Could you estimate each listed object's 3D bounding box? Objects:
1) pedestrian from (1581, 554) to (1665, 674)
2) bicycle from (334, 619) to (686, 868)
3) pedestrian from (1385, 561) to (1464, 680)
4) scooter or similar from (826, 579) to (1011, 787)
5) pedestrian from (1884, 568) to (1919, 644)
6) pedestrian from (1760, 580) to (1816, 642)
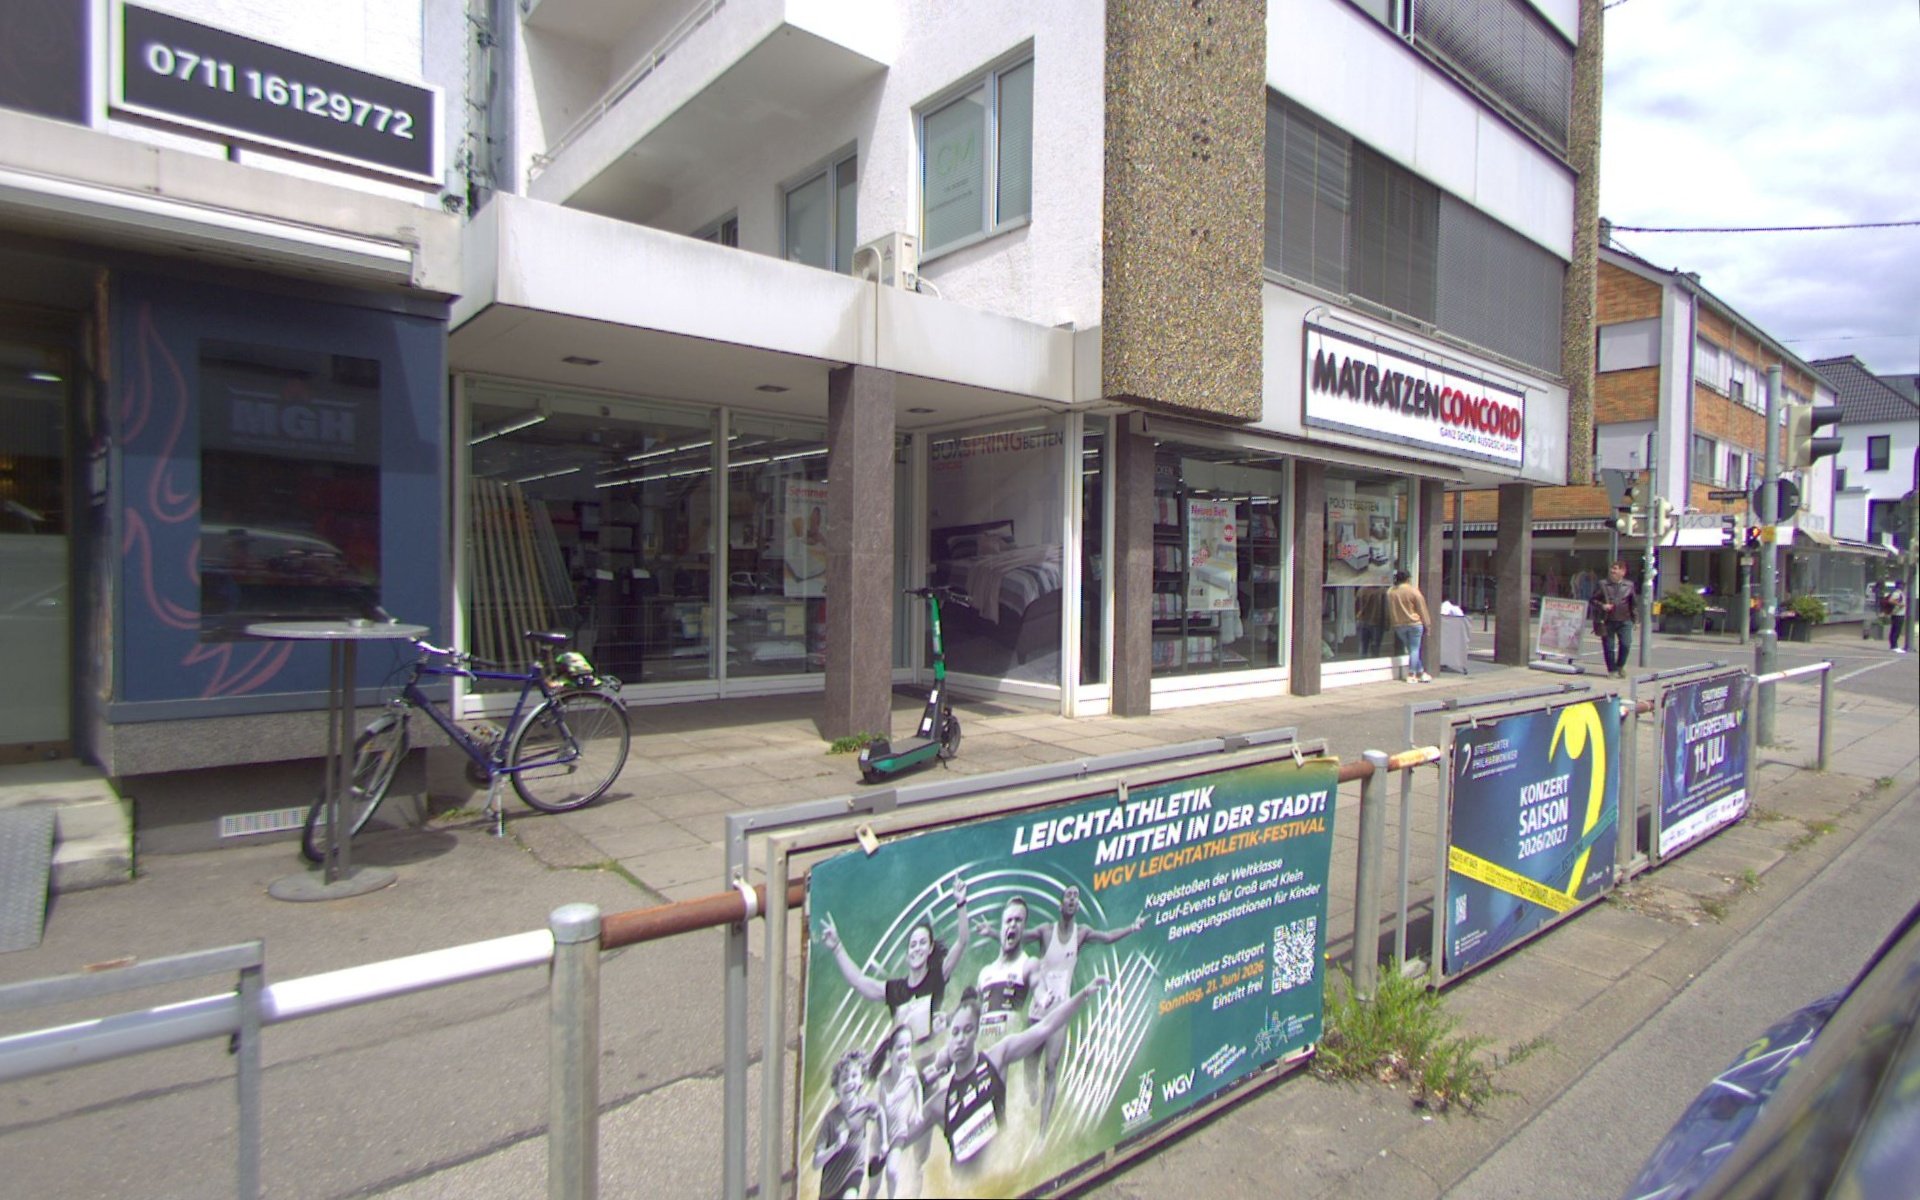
[{"bbox_3d":[9.806,0.187,14.974,0.793,1.691,0.796,0,2,-41],"label":"pedestrian"},{"bbox_3d":[-2.253,0.649,5.240,0.474,1.040,1.612,2,2,40],"label":"bicycle"},{"bbox_3d":[6.157,0.252,13.425,0.707,1.517,0.681,0,2,-40],"label":"pedestrian"},{"bbox_3d":[-0.264,0.508,7.024,0.686,1.283,1.169,2,2,37],"label":"scooter or similar"},{"bbox_3d":[23.771,0.141,25.330,0.862,1.853,0.583,1,2,-24],"label":"pedestrian"},{"bbox_3d":[21.199,0.272,25.920,0.808,1.544,0.776,2,1,16],"label":"pedestrian"}]
